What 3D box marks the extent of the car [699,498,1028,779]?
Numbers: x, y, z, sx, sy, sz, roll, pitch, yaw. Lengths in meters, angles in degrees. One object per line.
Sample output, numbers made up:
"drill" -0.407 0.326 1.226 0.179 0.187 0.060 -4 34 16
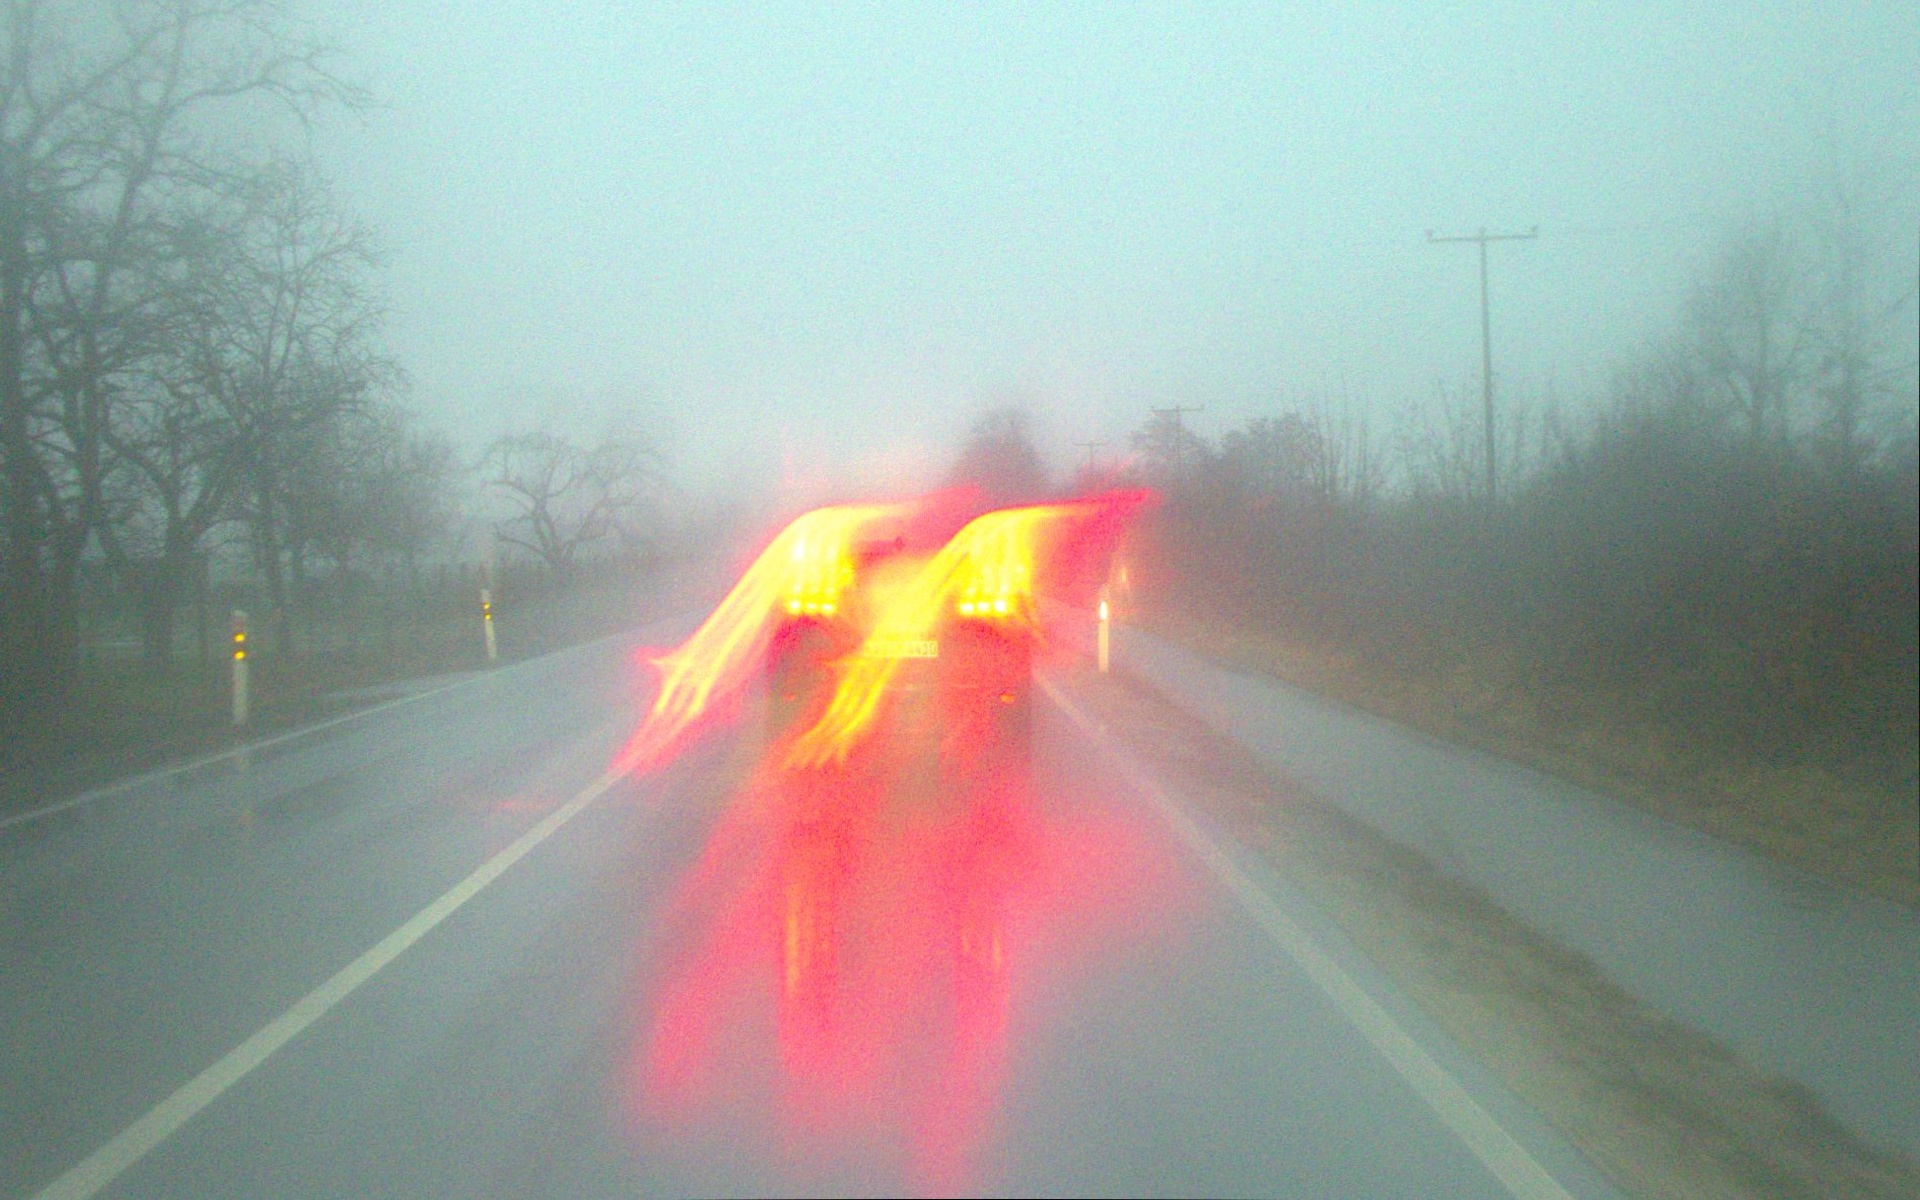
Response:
"car" -0.656 0.204 24.733 2.120 1.813 4.980 0 1 -1
